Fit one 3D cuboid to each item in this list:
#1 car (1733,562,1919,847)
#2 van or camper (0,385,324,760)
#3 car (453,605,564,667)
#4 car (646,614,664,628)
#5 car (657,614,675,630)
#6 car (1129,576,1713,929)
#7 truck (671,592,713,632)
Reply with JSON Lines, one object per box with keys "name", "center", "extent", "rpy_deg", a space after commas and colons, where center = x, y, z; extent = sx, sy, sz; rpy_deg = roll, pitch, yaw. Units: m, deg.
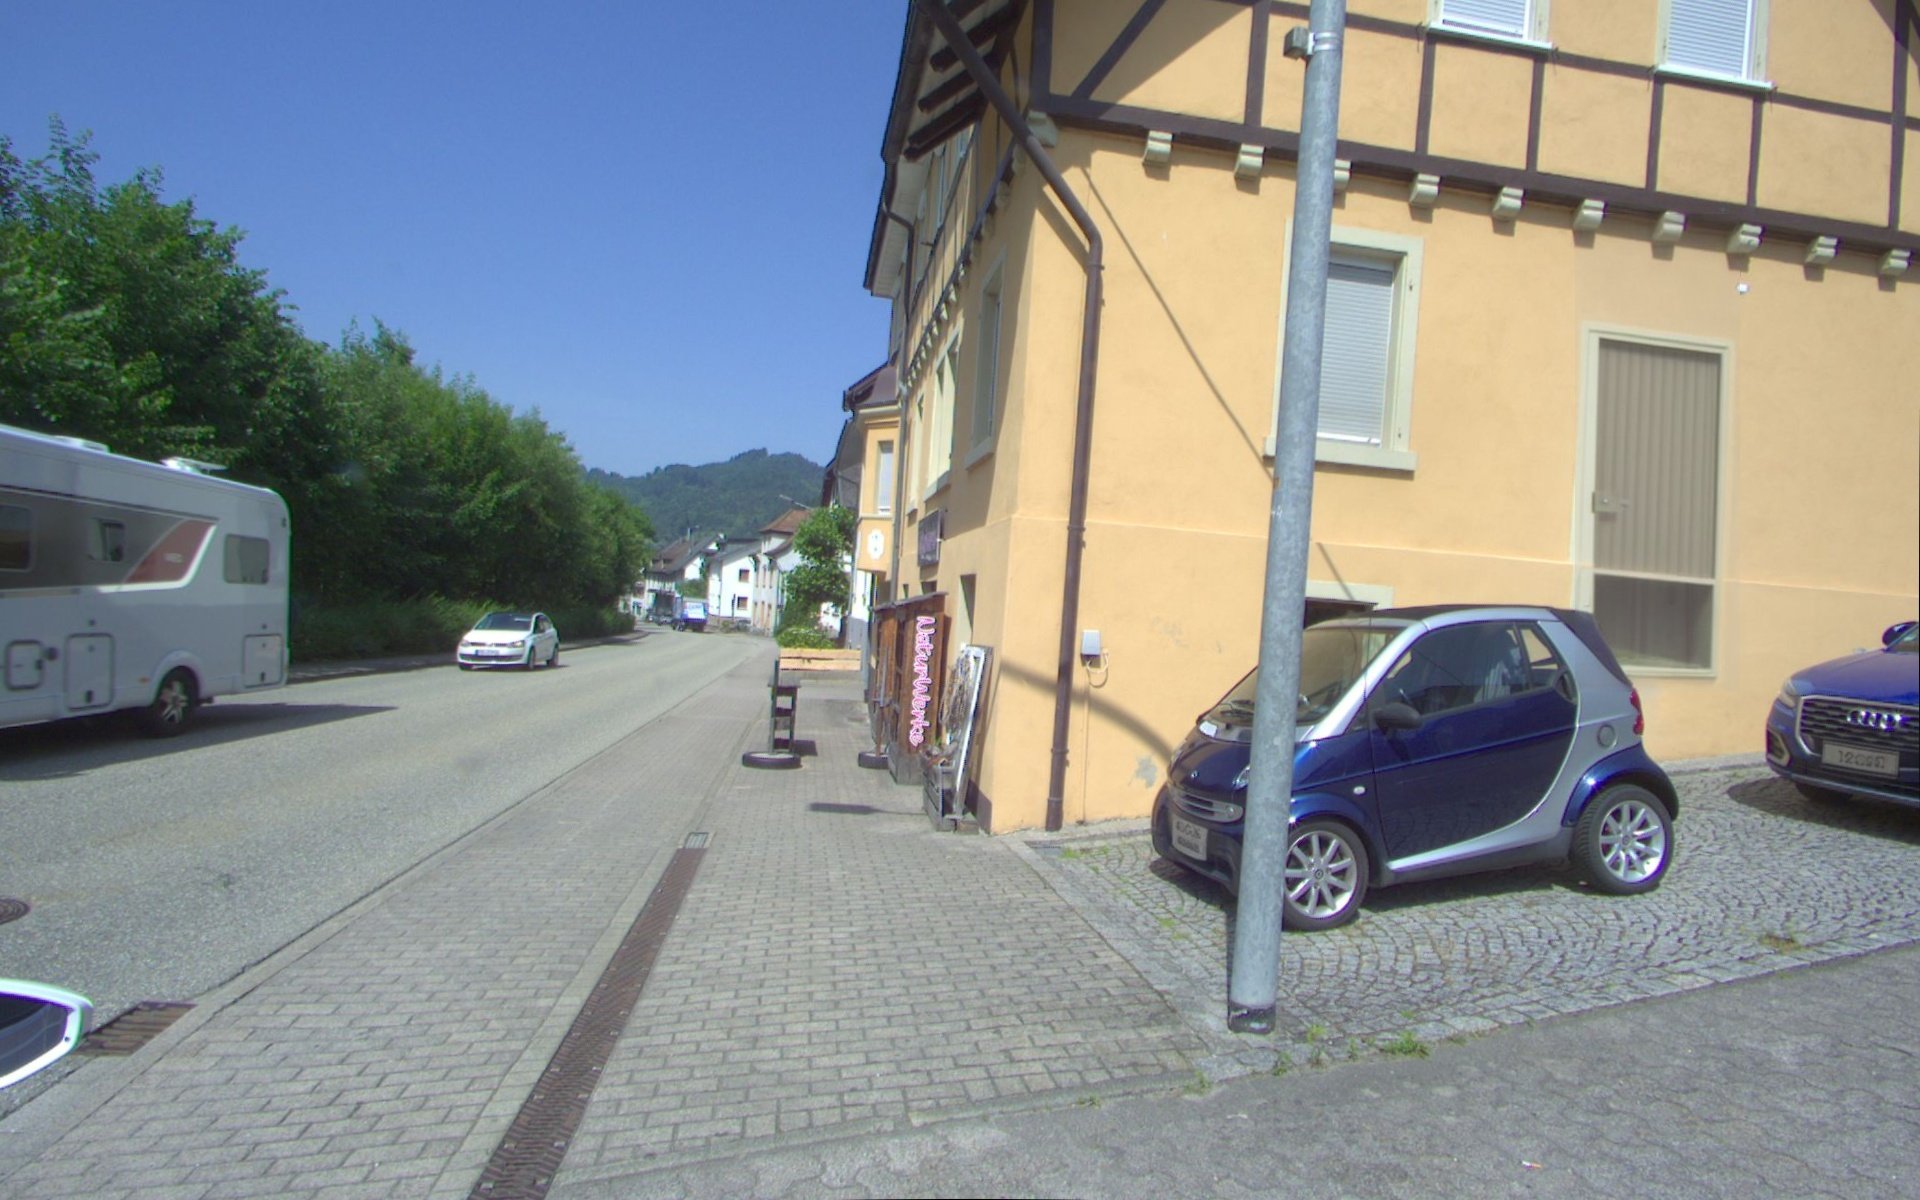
{"name": "car", "center": [7.360, 0.617, 6.468], "extent": [3.863, 1.646, 1.733], "rpy_deg": [0, 0, -14]}
{"name": "van or camper", "center": [-8.994, -0.231, 9.011], "extent": [2.321, 2.991, 8.048], "rpy_deg": [2, -1, -8]}
{"name": "car", "center": [-11.397, 0.925, 25.521], "extent": [1.579, 1.423, 3.827], "rpy_deg": [1, -2, -9]}
{"name": "car", "center": [-42.580, 2.974, 139.745], "extent": [1.967, 1.905, 3.989], "rpy_deg": [1, -2, -22]}
{"name": "car", "center": [-36.681, 2.791, 124.754], "extent": [1.966, 1.905, 3.992], "rpy_deg": [0, -2, -20]}
{"name": "car", "center": [2.488, 0.731, 5.663], "extent": [2.613, 1.556, 1.424], "rpy_deg": [-2, -1, -13]}
{"name": "truck", "center": [-27.195, 1.261, 101.271], "extent": [3.317, 3.830, 8.422], "rpy_deg": [0, -2, -20]}
